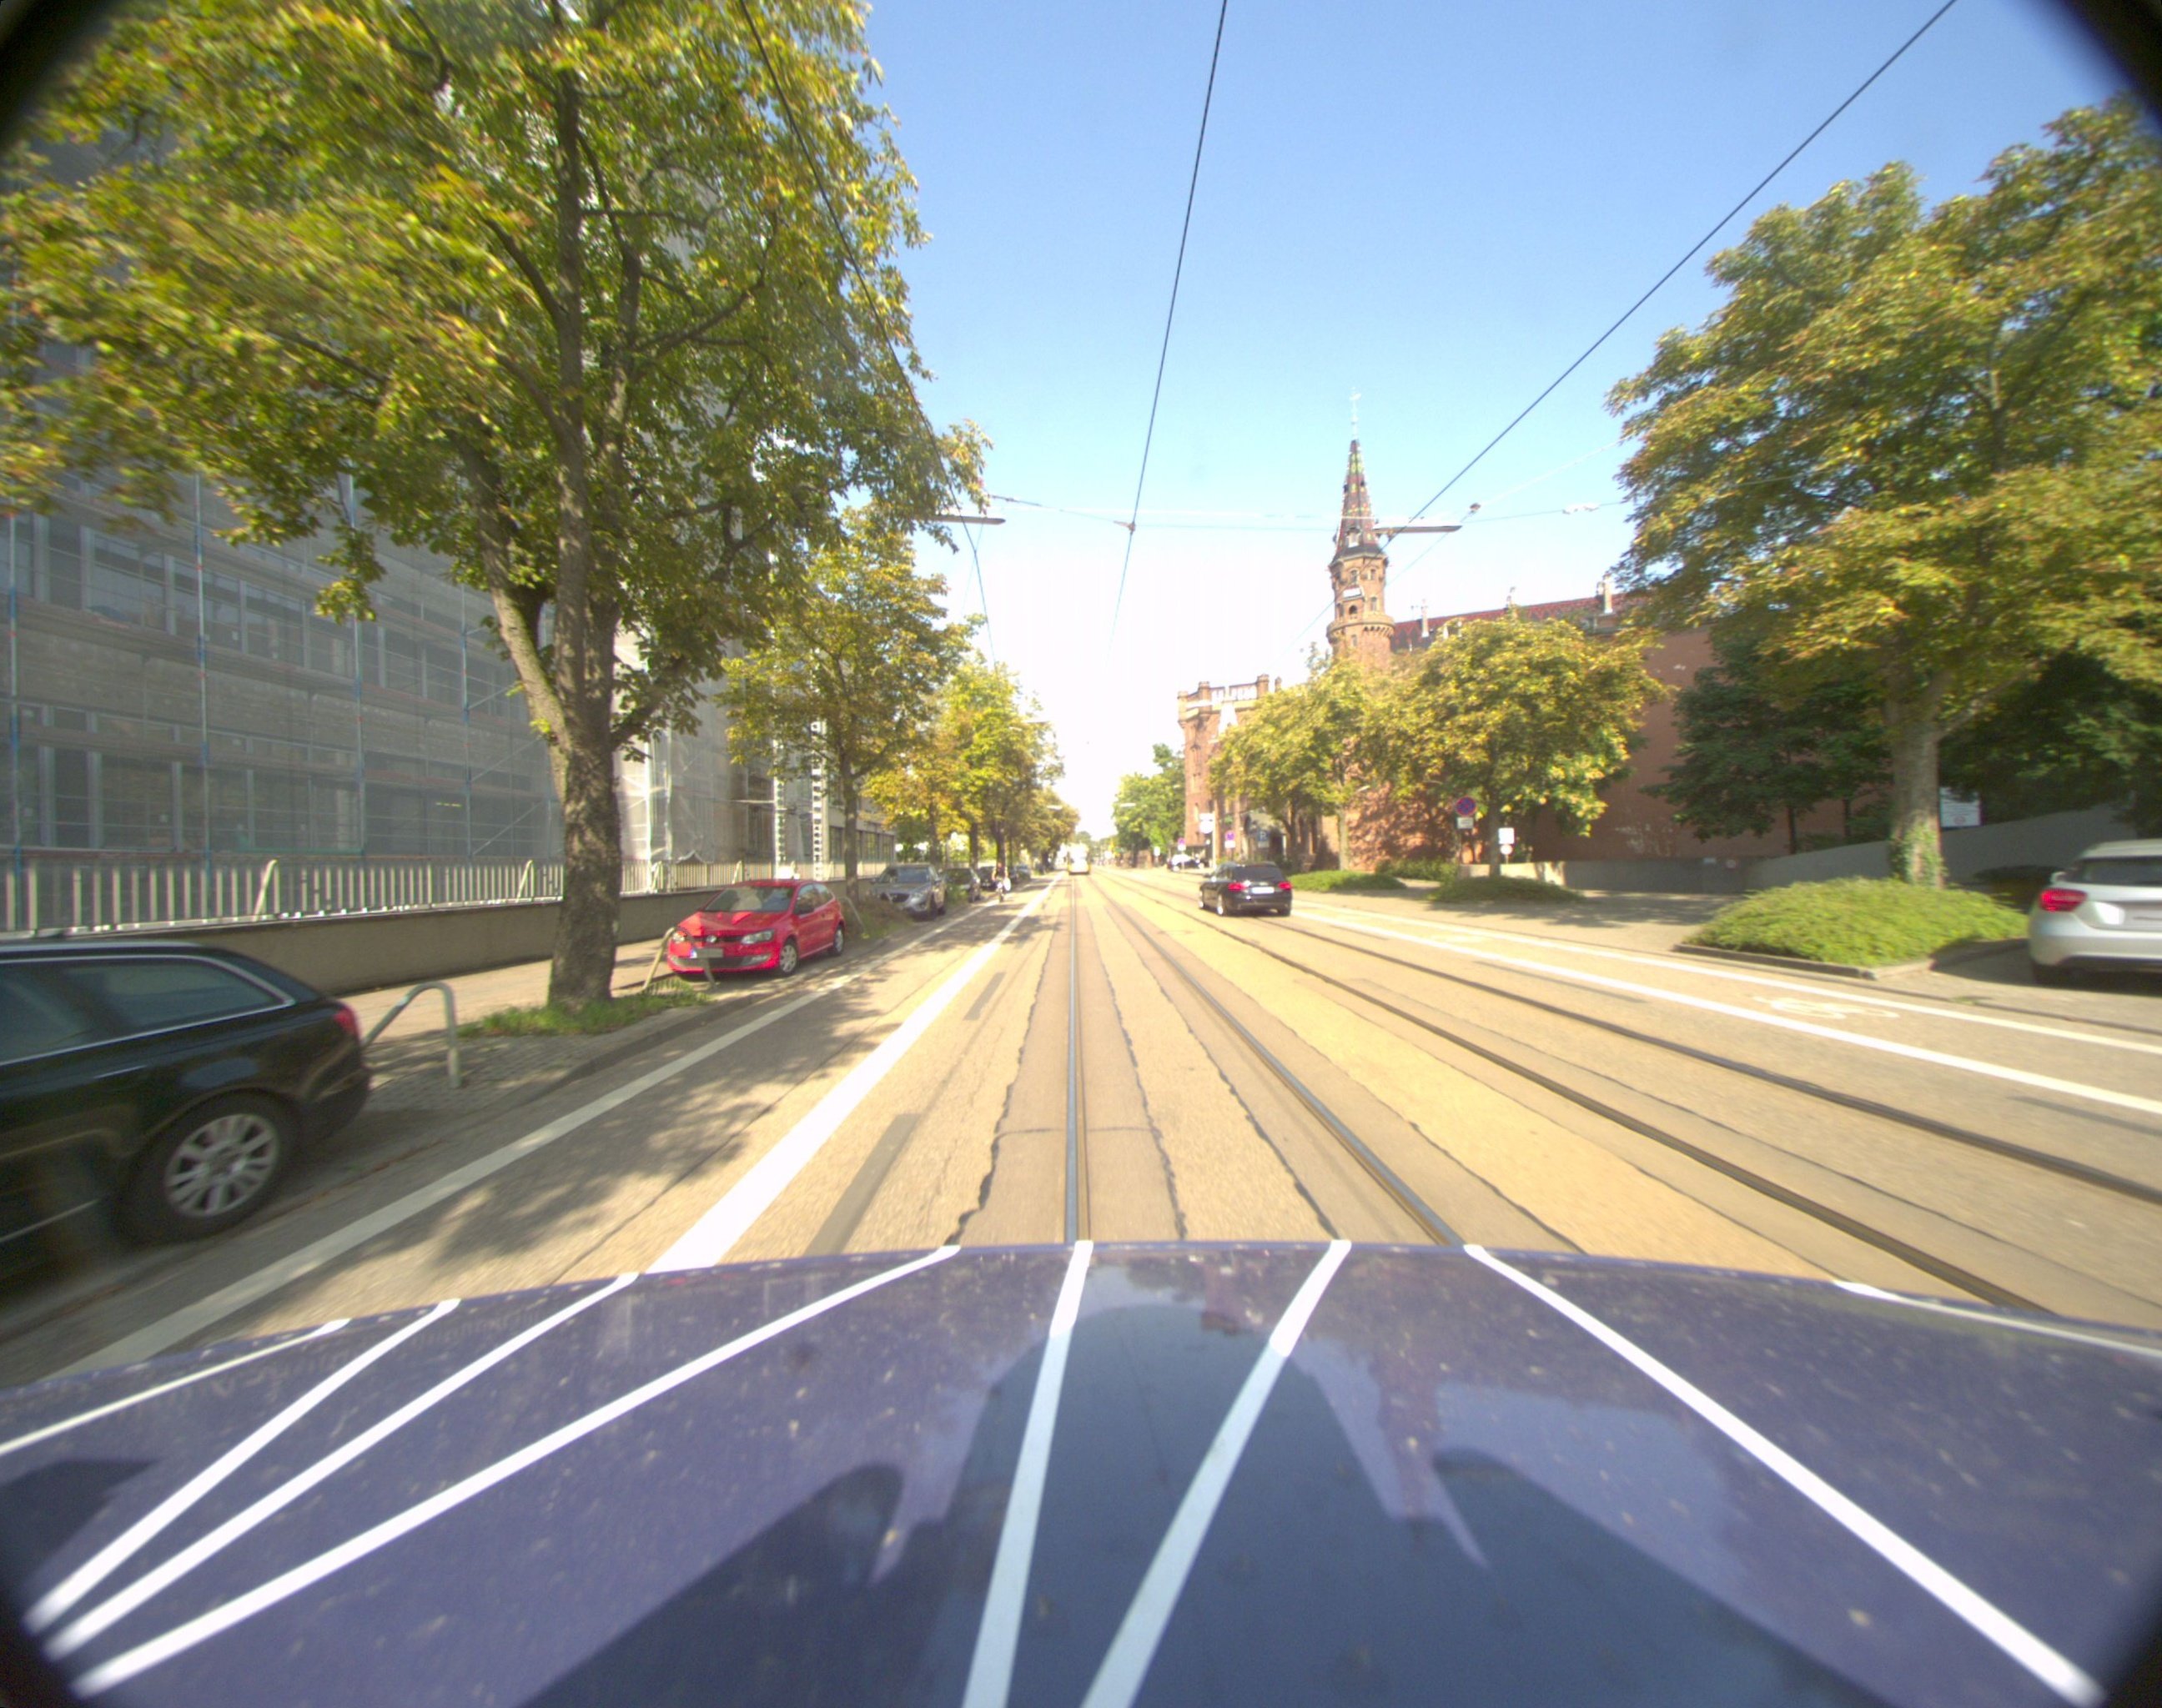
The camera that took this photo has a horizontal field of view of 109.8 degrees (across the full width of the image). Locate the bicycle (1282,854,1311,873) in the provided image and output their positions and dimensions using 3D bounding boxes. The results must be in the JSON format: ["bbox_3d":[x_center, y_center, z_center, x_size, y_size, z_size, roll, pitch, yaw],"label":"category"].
[{"bbox_3d":[13.662,0.606,48.222,1.810,1.068,0.420,-6,2,-23],"label":"bicycle"}]

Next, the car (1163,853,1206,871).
[{"bbox_3d":[11.661,0.911,85.763,4.408,1.636,1.957,-6,0,1],"label":"car"}]

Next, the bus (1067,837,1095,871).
[{"bbox_3d":[0.089,0.020,89.986,2.901,3.771,9.319,-2,0,2],"label":"bus"}]

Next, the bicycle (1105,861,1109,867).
[{"bbox_3d":[5.844,2.224,171.443,0.699,1.151,2.037,-1,0,-3],"label":"bicycle"}]

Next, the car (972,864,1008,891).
[{"bbox_3d":[-5.419,1.378,45.626,1.650,1.502,3.778,0,0,0],"label":"car"}]

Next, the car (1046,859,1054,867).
[{"bbox_3d":[-6.061,1.719,147.312,1.567,1.433,3.563,-2,0,-3],"label":"car"}]

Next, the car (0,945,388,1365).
[{"bbox_3d":[-4.812,1.210,1.943,1.620,1.366,4.827,-1,0,0],"label":"car"}]

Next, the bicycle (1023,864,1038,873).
[{"bbox_3d":[-5.933,1.722,88.886,1.773,1.057,0.796,0,0,-2],"label":"bicycle"}]

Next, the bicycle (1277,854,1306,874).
[{"bbox_3d":[13.491,0.654,48.654,1.810,1.068,0.420,-6,2,-23],"label":"bicycle"}]

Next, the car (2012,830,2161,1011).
[{"bbox_3d":[11.347,0.550,7.673,4.005,1.470,1.785,-4,0,-30],"label":"car"}]

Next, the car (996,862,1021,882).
[{"bbox_3d":[-5.494,1.378,57.934,1.650,1.420,4.084,0,0,-1],"label":"car"}]

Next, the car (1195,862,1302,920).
[{"bbox_3d":[4.409,0.918,20.718,1.833,1.368,4.512,-1,0,-1],"label":"car"}]

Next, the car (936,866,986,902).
[{"bbox_3d":[-5.209,1.270,33.305,1.580,1.476,3.738,0,0,0],"label":"car"}]

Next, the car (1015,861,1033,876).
[{"bbox_3d":[-5.710,1.473,76.489,1.644,1.421,3.988,-2,0,-2],"label":"car"}]

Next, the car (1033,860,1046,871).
[{"bbox_3d":[-5.818,1.555,106.921,1.745,1.477,4.436,-2,0,-2],"label":"car"}]

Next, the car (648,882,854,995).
[{"bbox_3d":[-5.147,1.232,12.484,1.620,1.405,4.000,-1,0,0],"label":"car"}]

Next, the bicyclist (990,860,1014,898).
[{"bbox_3d":[-3.191,1.003,30.886,0.789,1.461,1.116,-2,0,1],"label":"bicyclist"}]

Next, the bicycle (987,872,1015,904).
[{"bbox_3d":[-3.186,1.340,30.521,0.789,1.138,2.305,-2,0,1],"label":"bicycle"}]

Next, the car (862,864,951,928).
[{"bbox_3d":[-5.099,1.161,22.813,1.758,1.681,4.395,-2,-1,-2],"label":"car"}]
